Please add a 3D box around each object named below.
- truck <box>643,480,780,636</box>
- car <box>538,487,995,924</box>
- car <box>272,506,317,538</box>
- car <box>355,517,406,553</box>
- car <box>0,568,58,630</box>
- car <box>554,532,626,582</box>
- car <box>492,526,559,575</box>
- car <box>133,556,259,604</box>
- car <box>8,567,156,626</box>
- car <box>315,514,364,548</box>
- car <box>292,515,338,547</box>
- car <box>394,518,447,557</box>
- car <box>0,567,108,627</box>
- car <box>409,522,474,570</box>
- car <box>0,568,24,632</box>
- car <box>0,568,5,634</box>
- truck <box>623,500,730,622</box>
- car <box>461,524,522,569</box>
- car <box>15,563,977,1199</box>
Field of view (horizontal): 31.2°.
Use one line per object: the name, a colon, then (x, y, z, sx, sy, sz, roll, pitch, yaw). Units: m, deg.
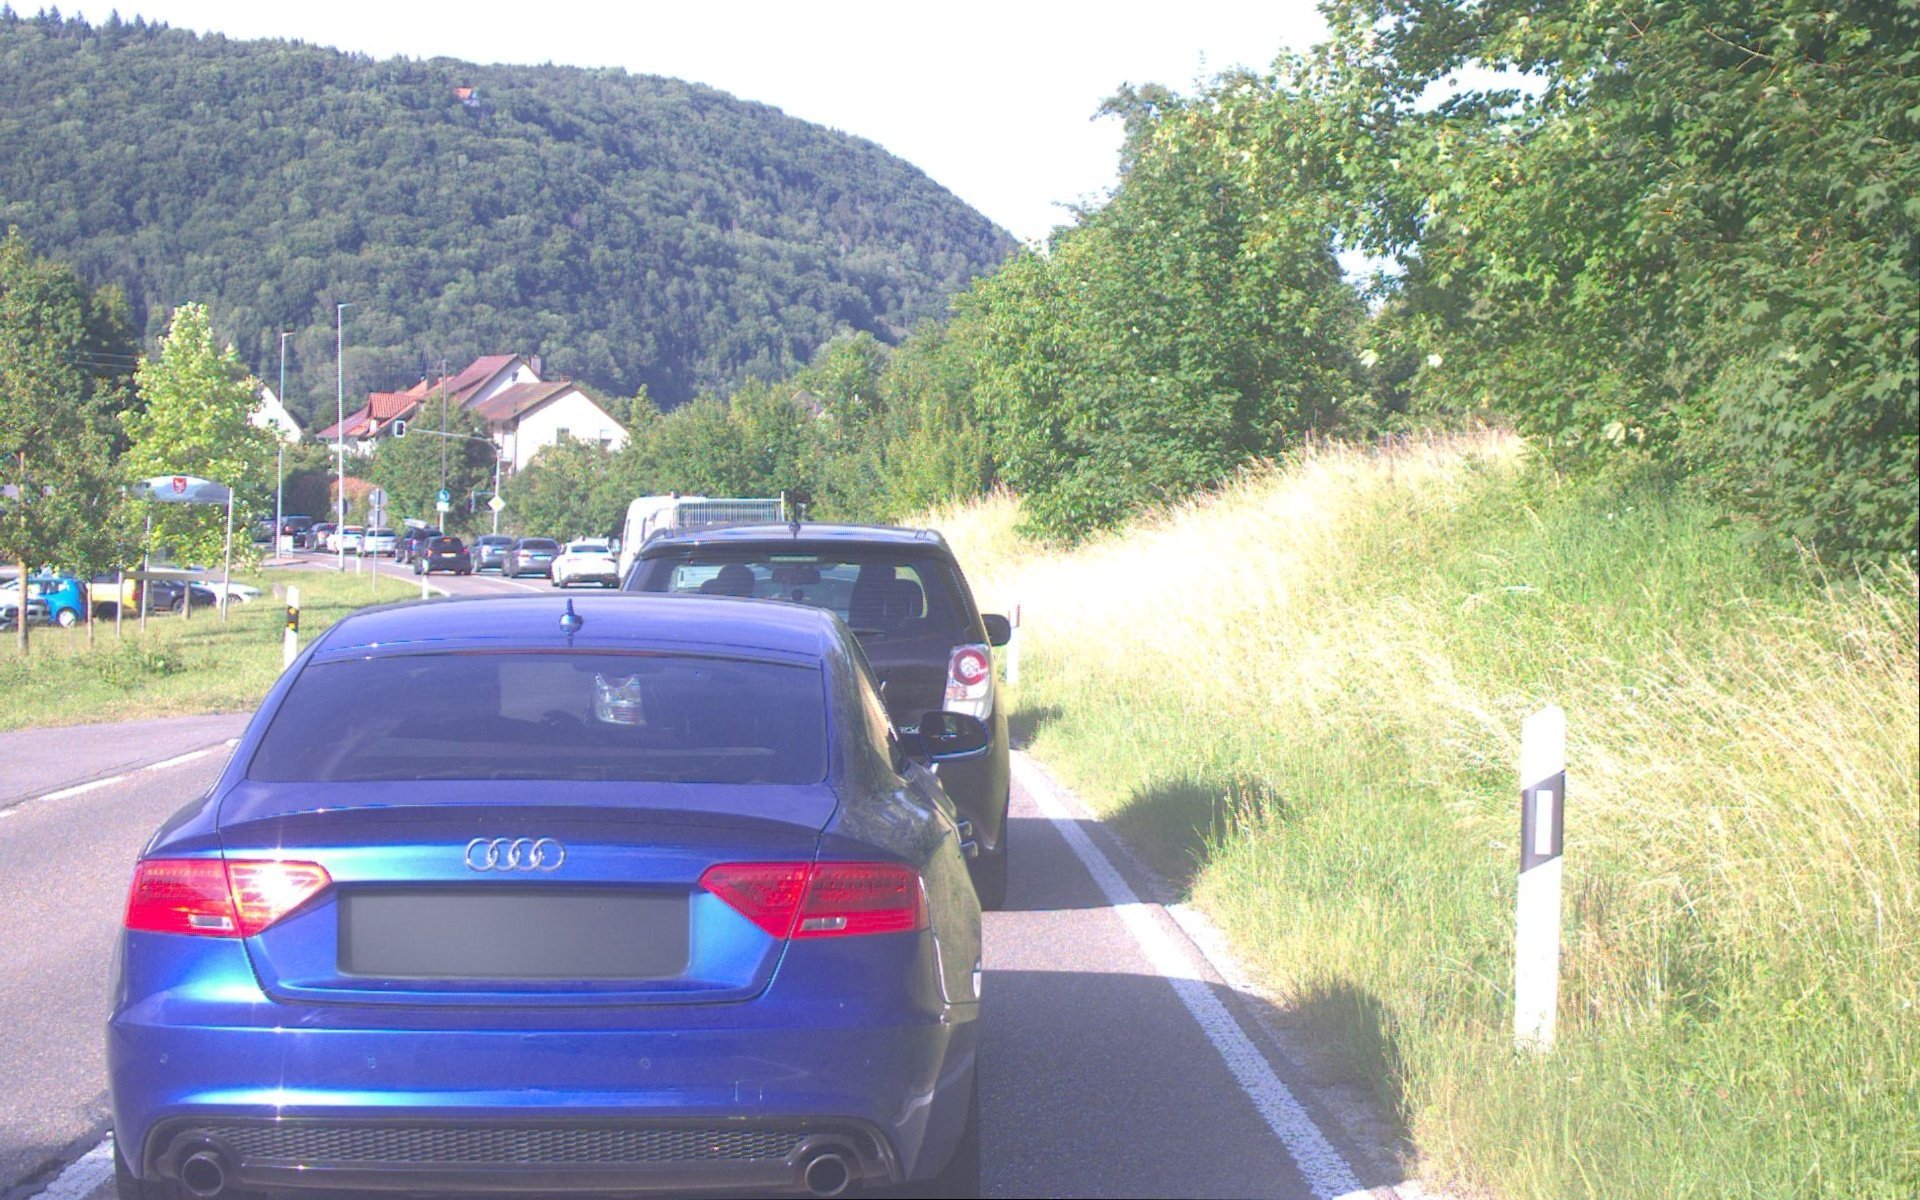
truck: (-4.424, -0.727, 60.366, 2.229, 2.561, 6.105, 1, 0, -5)
car: (-0.741, 0.392, 15.280, 1.754, 1.675, 3.846, 1, 0, 0)
car: (-37.363, -4.368, 193.007, 1.845, 1.706, 4.001, 1, 0, -20)
car: (-28.405, -3.180, 168.497, 1.845, 1.706, 4.001, 1, 0, -18)
car: (-27.326, -0.056, 95.570, 3.986, 1.705, 2.000, 1, 0, -3)
car: (-11.492, -1.328, 106.626, 1.845, 1.477, 4.001, 1, 0, -12)
car: (-15.569, -1.754, 123.104, 1.845, 1.706, 4.001, 1, 0, -15)
car: (-26.340, -0.690, 118.592, 3.986, 1.573, 1.753, 1, 0, -3)
car: (-26.537, -0.121, 104.032, 3.986, 1.705, 2.000, 1, 0, -3)
car: (-31.877, -3.544, 176.654, 1.845, 1.706, 4.001, 1, 0, -19)
car: (-34.734, -3.699, 185.050, 1.845, 1.706, 4.001, 1, 0, -20)
car: (-24.202, -2.780, 154.089, 1.845, 1.706, 4.001, 1, 0, -16)
car: (-27.337, -0.108, 101.357, 3.986, 1.705, 2.000, 1, 0, -3)
car: (-19.099, -1.980, 126.576, 1.845, 1.706, 4.001, 1, 0, -16)
car: (-27.388, -0.028, 92.285, 3.986, 1.705, 2.000, 1, 0, -3)
car: (-26.866, 0.012, 88.629, 3.986, 1.705, 2.000, 1, 0, -3)
truck: (-6.315, -0.863, 76.160, 2.229, 2.561, 6.709, 1, 0, -5)
car: (-18.376, -2.087, 134.627, 1.845, 1.706, 4.001, 1, 0, -15)
car: (-0.846, 0.639, 8.237, 1.754, 1.425, 3.846, 1, 0, 0)
